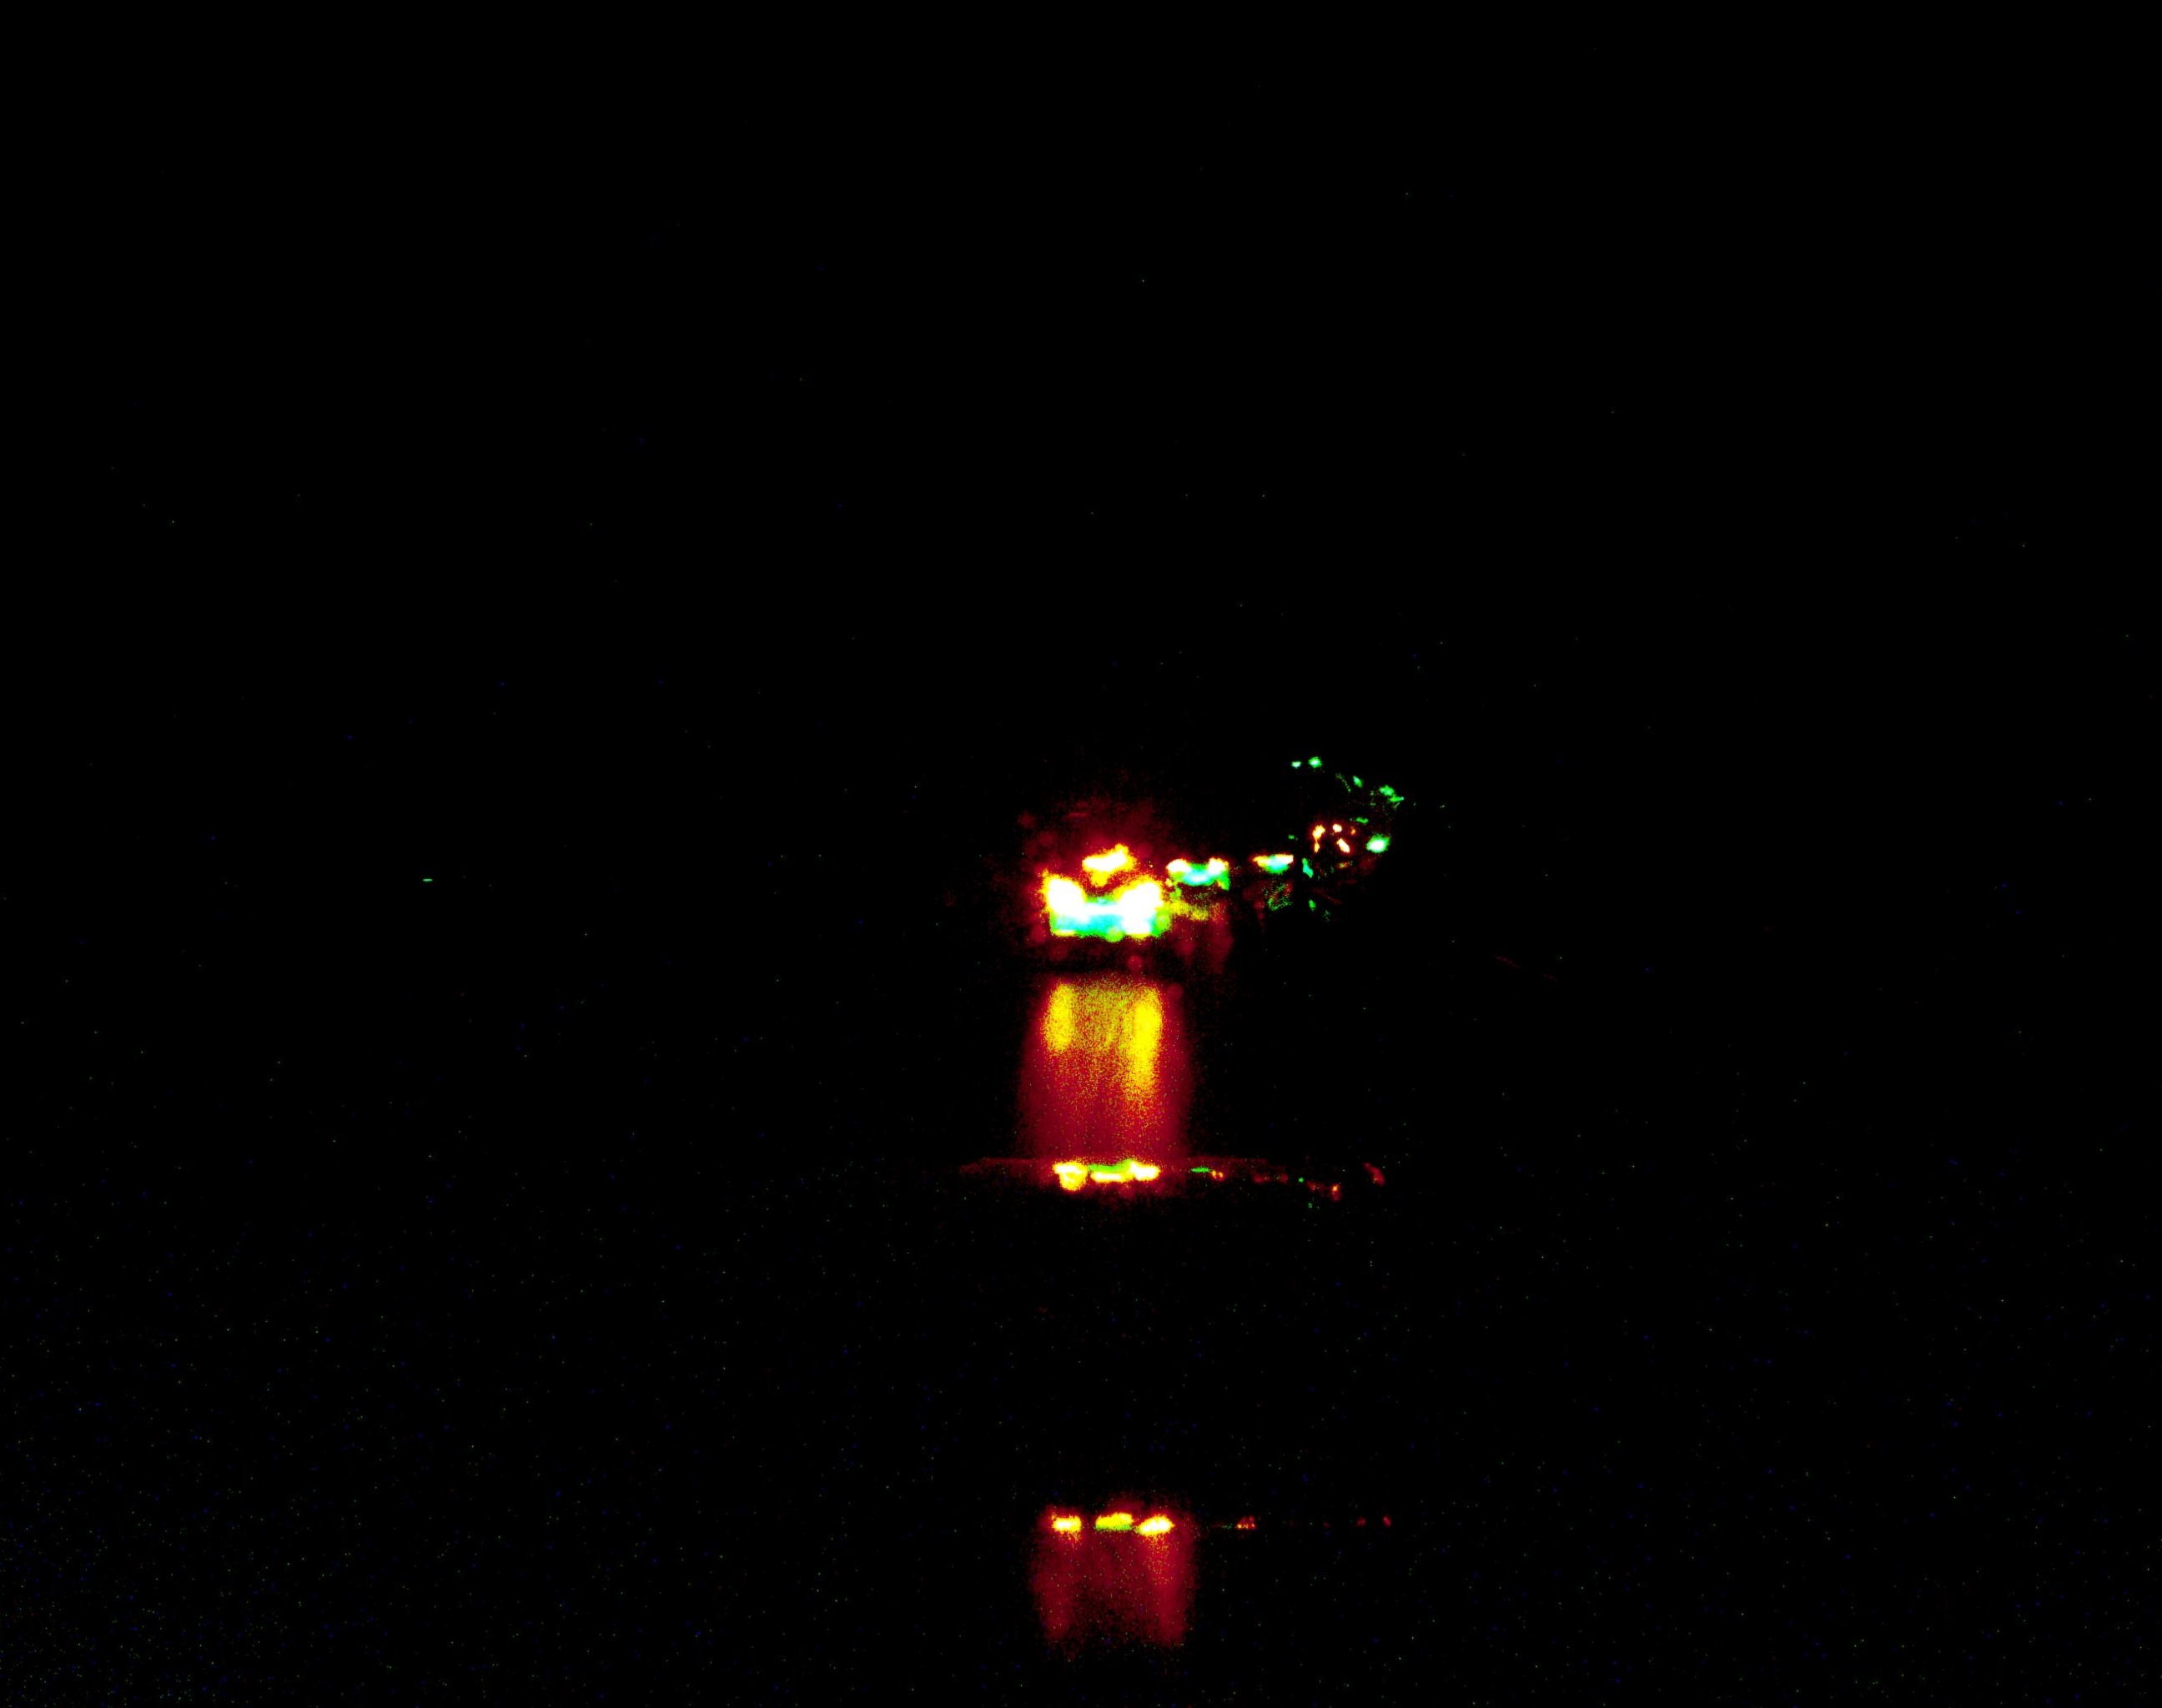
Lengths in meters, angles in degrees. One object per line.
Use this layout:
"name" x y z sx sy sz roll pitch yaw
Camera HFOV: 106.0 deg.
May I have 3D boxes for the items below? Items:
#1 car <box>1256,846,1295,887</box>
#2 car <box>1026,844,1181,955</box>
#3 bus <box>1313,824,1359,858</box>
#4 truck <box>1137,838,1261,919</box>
"car" 9.901 0.616 41.300 1.823 1.948 4.016 -1 -1 15
"car" 0.523 0.652 13.149 1.932 1.491 3.726 -2 -1 10
"bus" 25.265 -1.296 80.404 2.718 3.123 9.257 -1 1 27
"truck" 4.496 0.822 29.440 3.044 2.528 7.201 -1 -1 20
